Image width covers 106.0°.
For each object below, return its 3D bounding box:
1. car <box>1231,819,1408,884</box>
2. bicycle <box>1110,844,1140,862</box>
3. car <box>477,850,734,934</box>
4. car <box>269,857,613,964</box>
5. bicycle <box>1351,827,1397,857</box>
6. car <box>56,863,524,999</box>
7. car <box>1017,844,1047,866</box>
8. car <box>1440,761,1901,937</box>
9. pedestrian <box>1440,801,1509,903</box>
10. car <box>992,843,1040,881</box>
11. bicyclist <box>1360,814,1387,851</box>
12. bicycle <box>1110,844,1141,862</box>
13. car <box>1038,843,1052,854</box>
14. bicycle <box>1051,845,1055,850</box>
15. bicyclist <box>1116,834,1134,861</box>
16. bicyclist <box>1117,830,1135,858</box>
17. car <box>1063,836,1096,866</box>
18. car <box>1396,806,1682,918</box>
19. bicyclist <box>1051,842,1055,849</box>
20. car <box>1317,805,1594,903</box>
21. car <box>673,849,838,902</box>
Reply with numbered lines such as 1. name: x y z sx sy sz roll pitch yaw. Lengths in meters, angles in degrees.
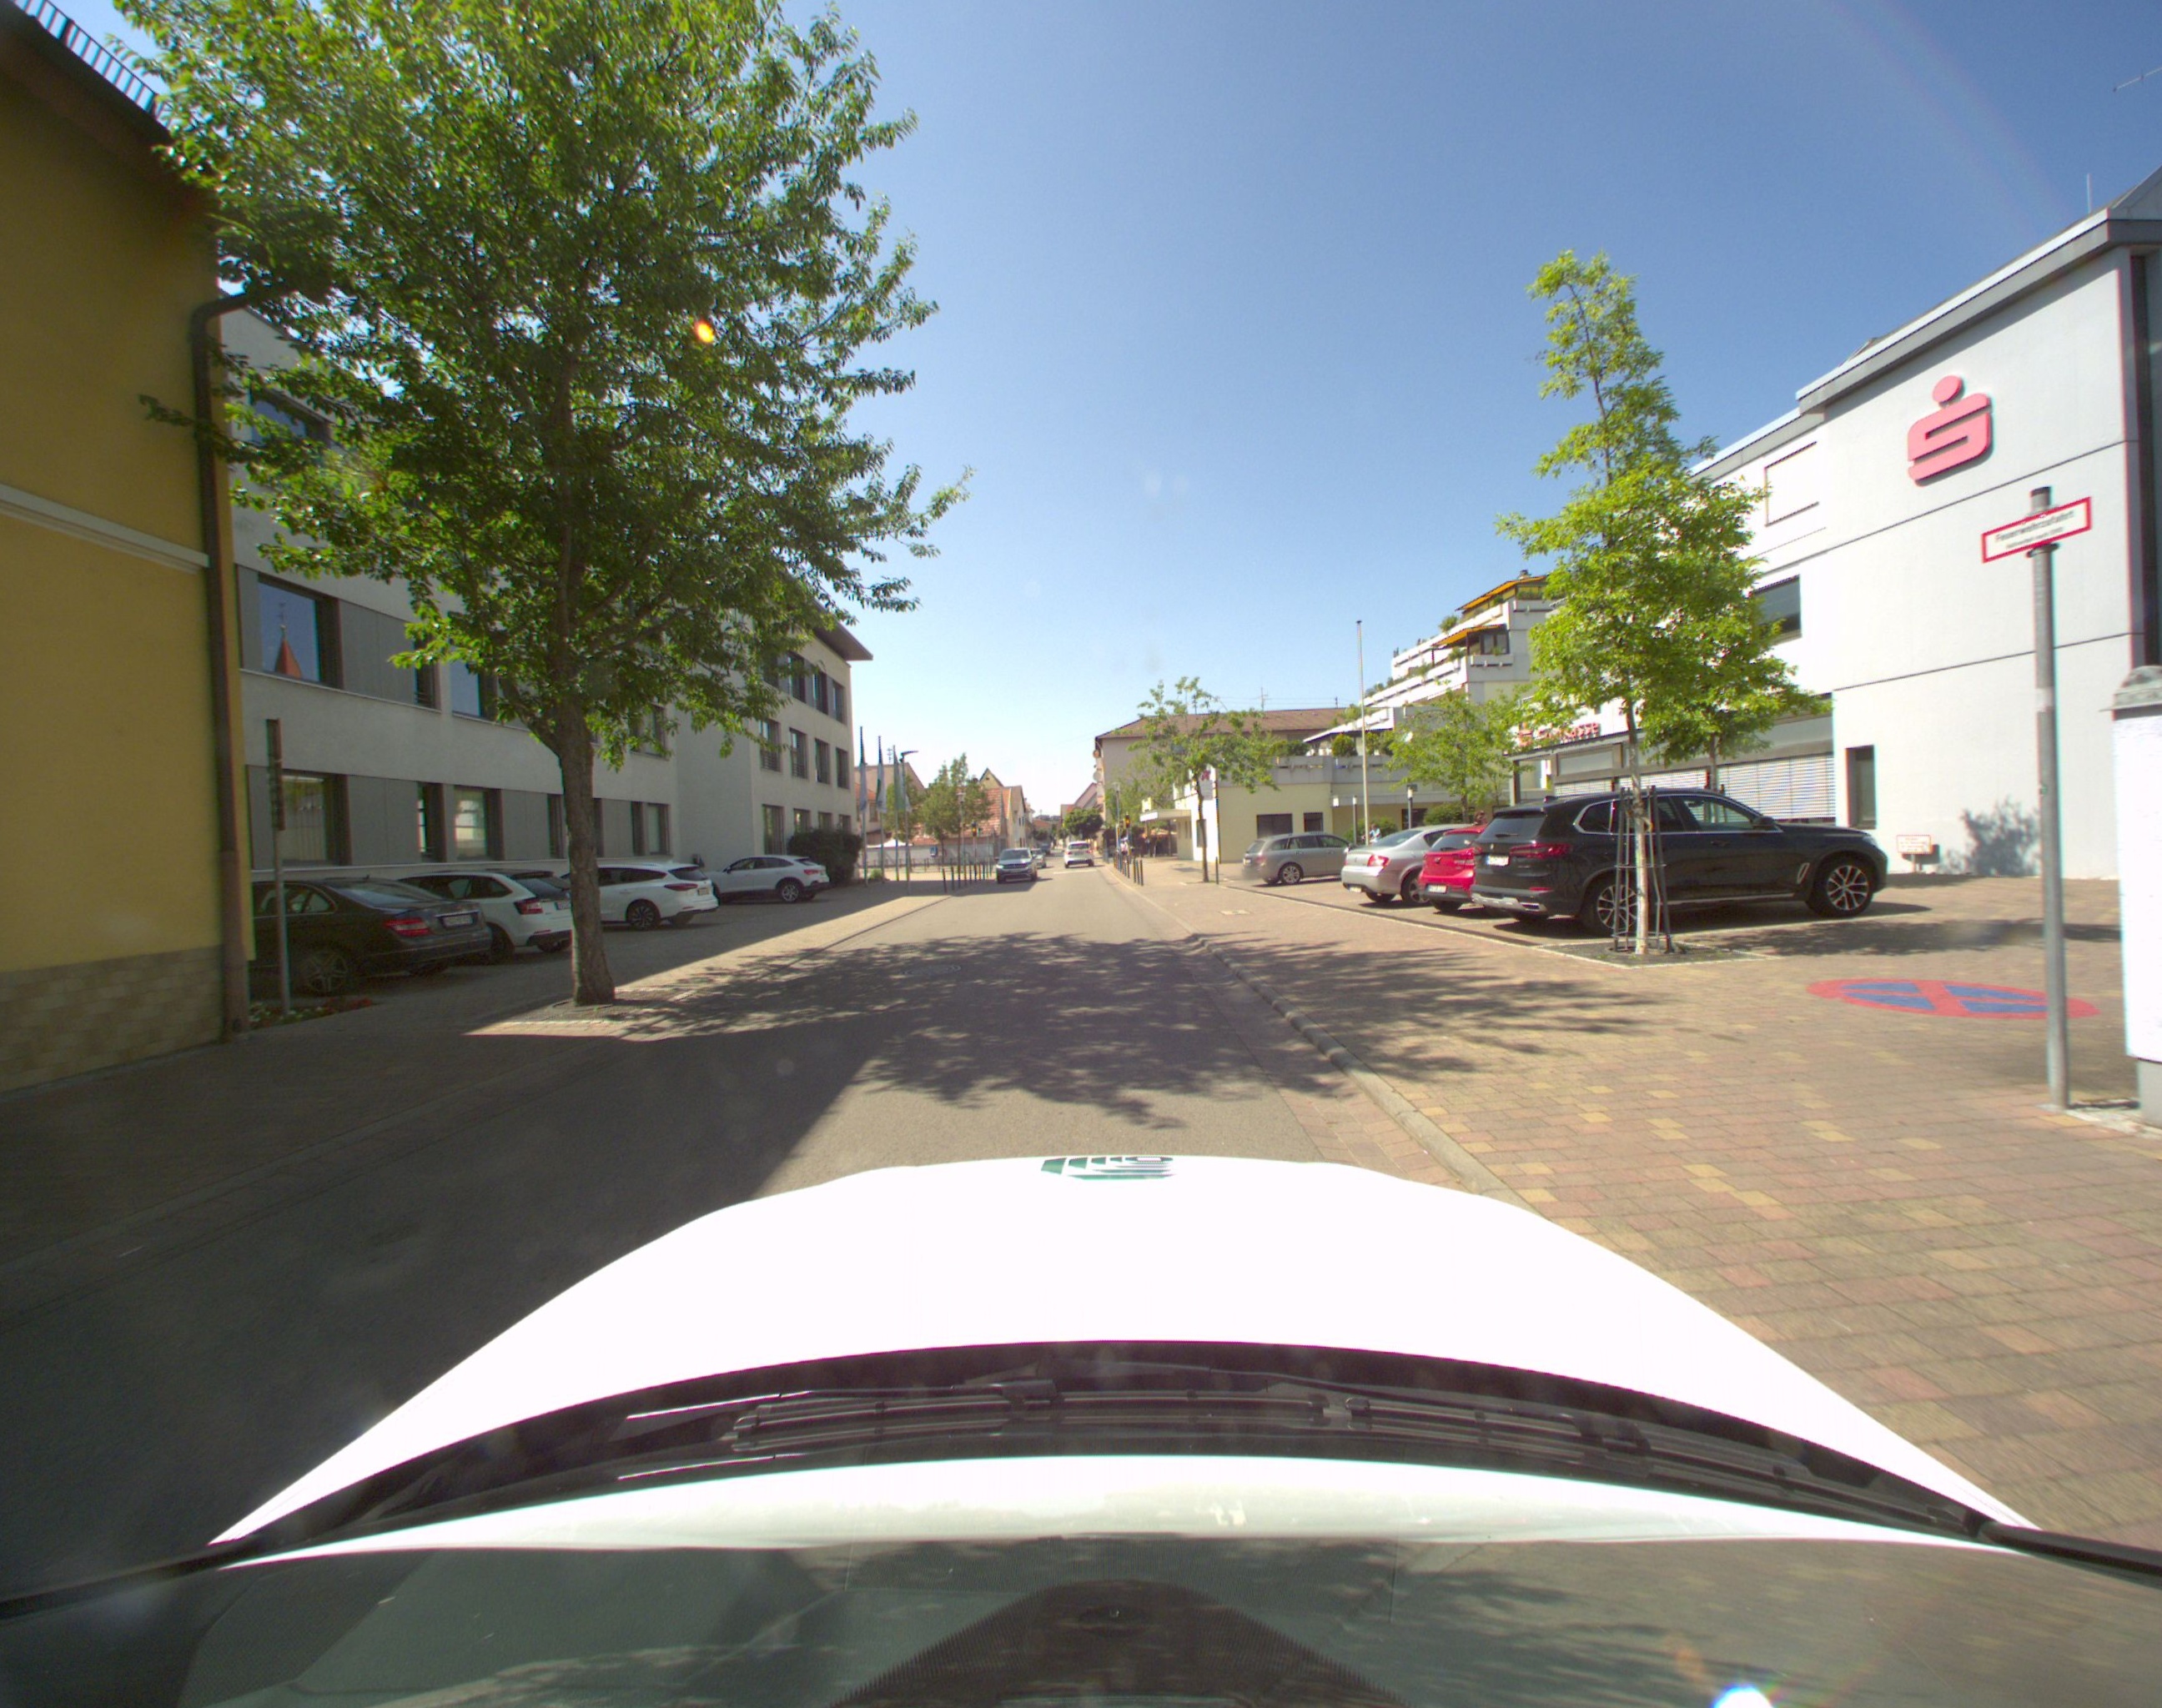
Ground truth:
1. car: 6.967 -0.084 24.042 4.571 1.512 1.912 -5 0 -7
2. bicycle: 2.782 -0.054 50.931 1.907 0.957 0.667 -6 2 -44
3. car: -10.474 0.796 18.207 4.491 1.554 1.934 -2 1 -1
4. car: -10.112 0.846 13.140 3.977 1.451 1.806 -1 1 -3
5. bicycle: 12.654 -0.521 35.152 1.900 1.109 0.670 -5 1 -27
6. car: -10.047 0.913 10.690 3.980 1.431 1.969 -1 1 -5
7. car: -3.513 0.042 58.726 1.875 1.464 4.434 -3 1 -1
8. car: 7.626 -0.091 10.914 4.618 1.771 2.147 -4 1 -2
9. pedestrian: 6.969 -0.039 14.437 0.748 1.717 0.697 -4 1 -7
10. car: -2.940 0.329 37.678 1.845 1.573 3.999 -3 1 -1
11. bicyclist: 12.615 -0.942 35.141 0.763 1.526 0.665 -5 1 -27
12. bicycle: 2.722 -0.082 49.904 1.907 0.957 0.668 -6 2 -43
13. car: -5.361 -0.842 120.992 1.708 1.517 3.788 -3 1 1
14. bicycle: -5.542 -1.252 161.984 0.662 1.006 1.896 -3 1 -2
15. bicyclist: 2.693 -0.415 49.879 0.766 1.581 0.662 -6 2 -43
16. bicyclist: 2.807 -0.646 50.989 0.766 1.664 0.662 -5 1 -44
17. car: -0.077 -0.223 51.435 1.828 1.651 4.001 -5 2 0
18. car: 7.374 0.104 13.303 3.726 1.452 1.741 -4 1 -7
19. bicyclist: -5.546 -1.681 161.997 0.671 1.482 0.770 -3 1 -2
20. car: 7.152 -0.029 15.785 4.531 1.440 1.835 -5 1 -7
21. car: -10.540 0.673 26.663 4.495 1.554 2.146 -1 0 -3
